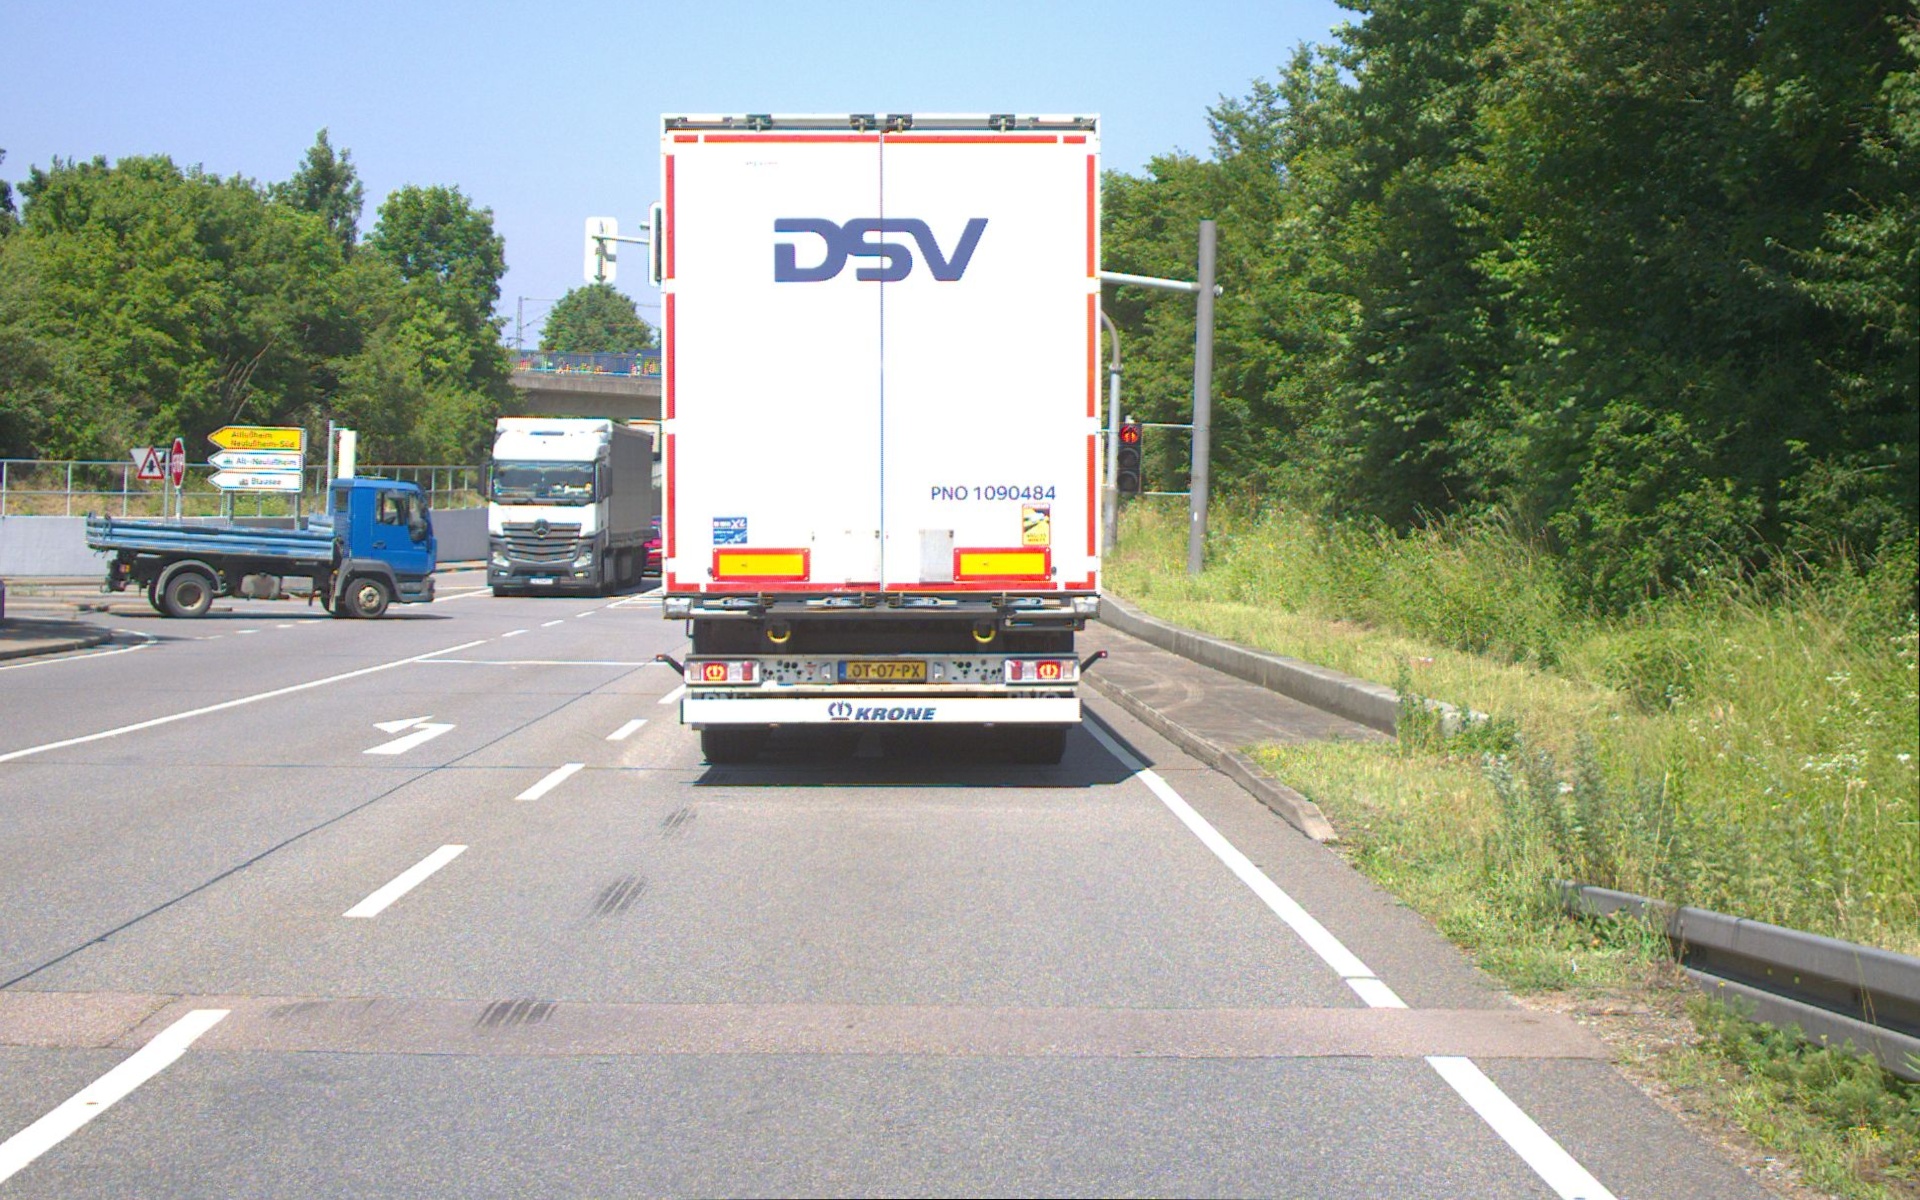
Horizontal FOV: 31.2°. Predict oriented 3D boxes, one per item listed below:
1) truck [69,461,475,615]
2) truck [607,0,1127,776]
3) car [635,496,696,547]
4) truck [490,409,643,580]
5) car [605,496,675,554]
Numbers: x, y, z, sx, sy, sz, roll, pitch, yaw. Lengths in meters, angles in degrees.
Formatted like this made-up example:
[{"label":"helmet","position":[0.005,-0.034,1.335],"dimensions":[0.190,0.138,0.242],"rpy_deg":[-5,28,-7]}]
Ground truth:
[{"label":"truck","position":[-11.872,-1.052,59.290],"dimensions":[6.409,2.490,2.715],"rpy_deg":[1,1,-23]},{"label":"truck","position":[-0.488,-1.385,24.677],"dimensions":[2.950,4.553,9.863],"rpy_deg":[1,1,1]},{"label":"car","position":[-9.623,-2.581,112.575],"dimensions":[1.747,1.620,3.704],"rpy_deg":[0,2,-1]},{"label":"truck","position":[-9.228,-2.502,81.866],"dimensions":[2.353,3.737,12.627],"rpy_deg":[0,2,-1]},{"label":"car","position":[-9.208,-2.186,99.179],"dimensions":[1.747,1.620,3.704],"rpy_deg":[0,2,-1]}]
